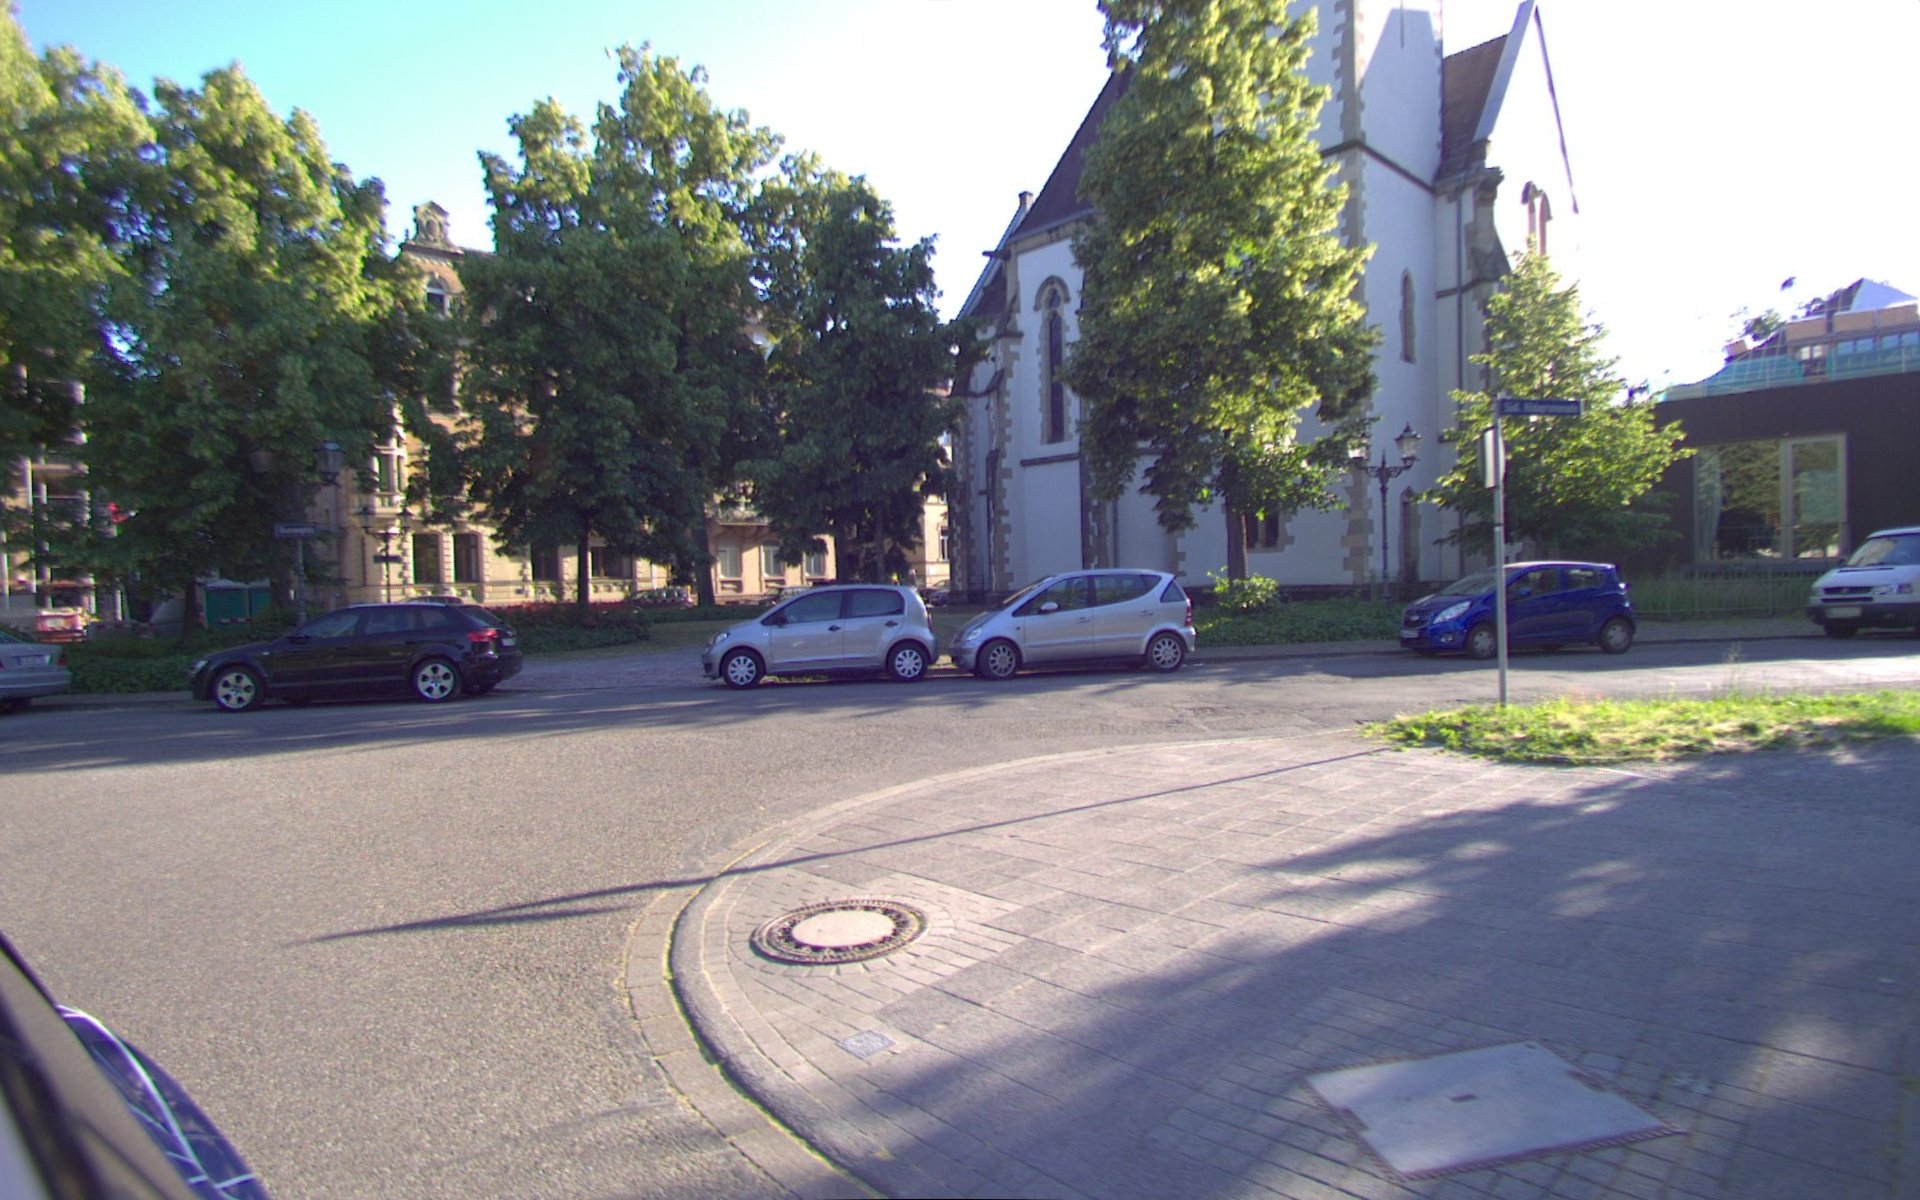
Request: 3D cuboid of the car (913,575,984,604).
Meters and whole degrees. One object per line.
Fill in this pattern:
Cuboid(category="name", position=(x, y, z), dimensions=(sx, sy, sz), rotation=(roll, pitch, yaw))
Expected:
Cuboid(category="car", position=(-0.689, -0.662, 63.118), dimensions=(4.158, 1.668, 2.002), rotation=(-3, 1, -44))

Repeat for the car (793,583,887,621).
Cuboid(category="car", position=(-5.691, 0.092, 48.370), dimensions=(4.158, 1.668, 1.893), rotation=(-3, 1, -45))

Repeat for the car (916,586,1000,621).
Cuboid(category="car", position=(-0.077, 0.184, 53.779), dimensions=(4.153, 1.668, 1.895), rotation=(-2, 1, -38))

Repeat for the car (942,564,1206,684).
Cuboid(category="car", position=(1.669, 0.323, 15.475), dimensions=(3.638, 1.591, 1.713), rotation=(-2, 1, -8))

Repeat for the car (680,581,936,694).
Cuboid(category="car", position=(-2.238, 0.529, 15.185), dimensions=(3.549, 1.451, 1.620), rotation=(-2, -1, -7))

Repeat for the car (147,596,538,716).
Cuboid(category="car", position=(-8.651, 0.759, 14.534), dimensions=(4.425, 1.426, 1.833), rotation=(-2, -1, -7))

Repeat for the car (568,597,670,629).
Cuboid(category="car", position=(-16.253, 0.606, 48.370), dimensions=(4.158, 1.287, 1.914), rotation=(-3, 1, -44))

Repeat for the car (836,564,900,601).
Cuboid(category="car", position=(-6.033, -1.095, 65.874), dimensions=(1.864, 2.278, 4.223), rotation=(-2, 1, -44))

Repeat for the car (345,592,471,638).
Cuboid(category="car", position=(-22.669, 0.575, 41.644), dimensions=(4.158, 1.668, 1.914), rotation=(-3, 1, -44))

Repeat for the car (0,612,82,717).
Cuboid(category="car", position=(-15.224, 0.966, 14.035), dimensions=(4.430, 1.426, 1.787), rotation=(-2, -1, -4))

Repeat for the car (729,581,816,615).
Cuboid(category="car", position=(-10.066, -0.108, 54.376), dimensions=(4.158, 1.668, 2.002), rotation=(-3, 1, -44))

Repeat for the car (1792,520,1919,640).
Cuboid(category="car", position=(17.606, -0.422, 17.765), dimensions=(4.763, 1.961, 1.861), rotation=(-2, 1, -8))

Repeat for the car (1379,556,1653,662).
Cuboid(category="car", position=(9.024, 0.119, 16.557), dimensions=(3.638, 1.512, 1.624), rotation=(-2, 1, -8))
